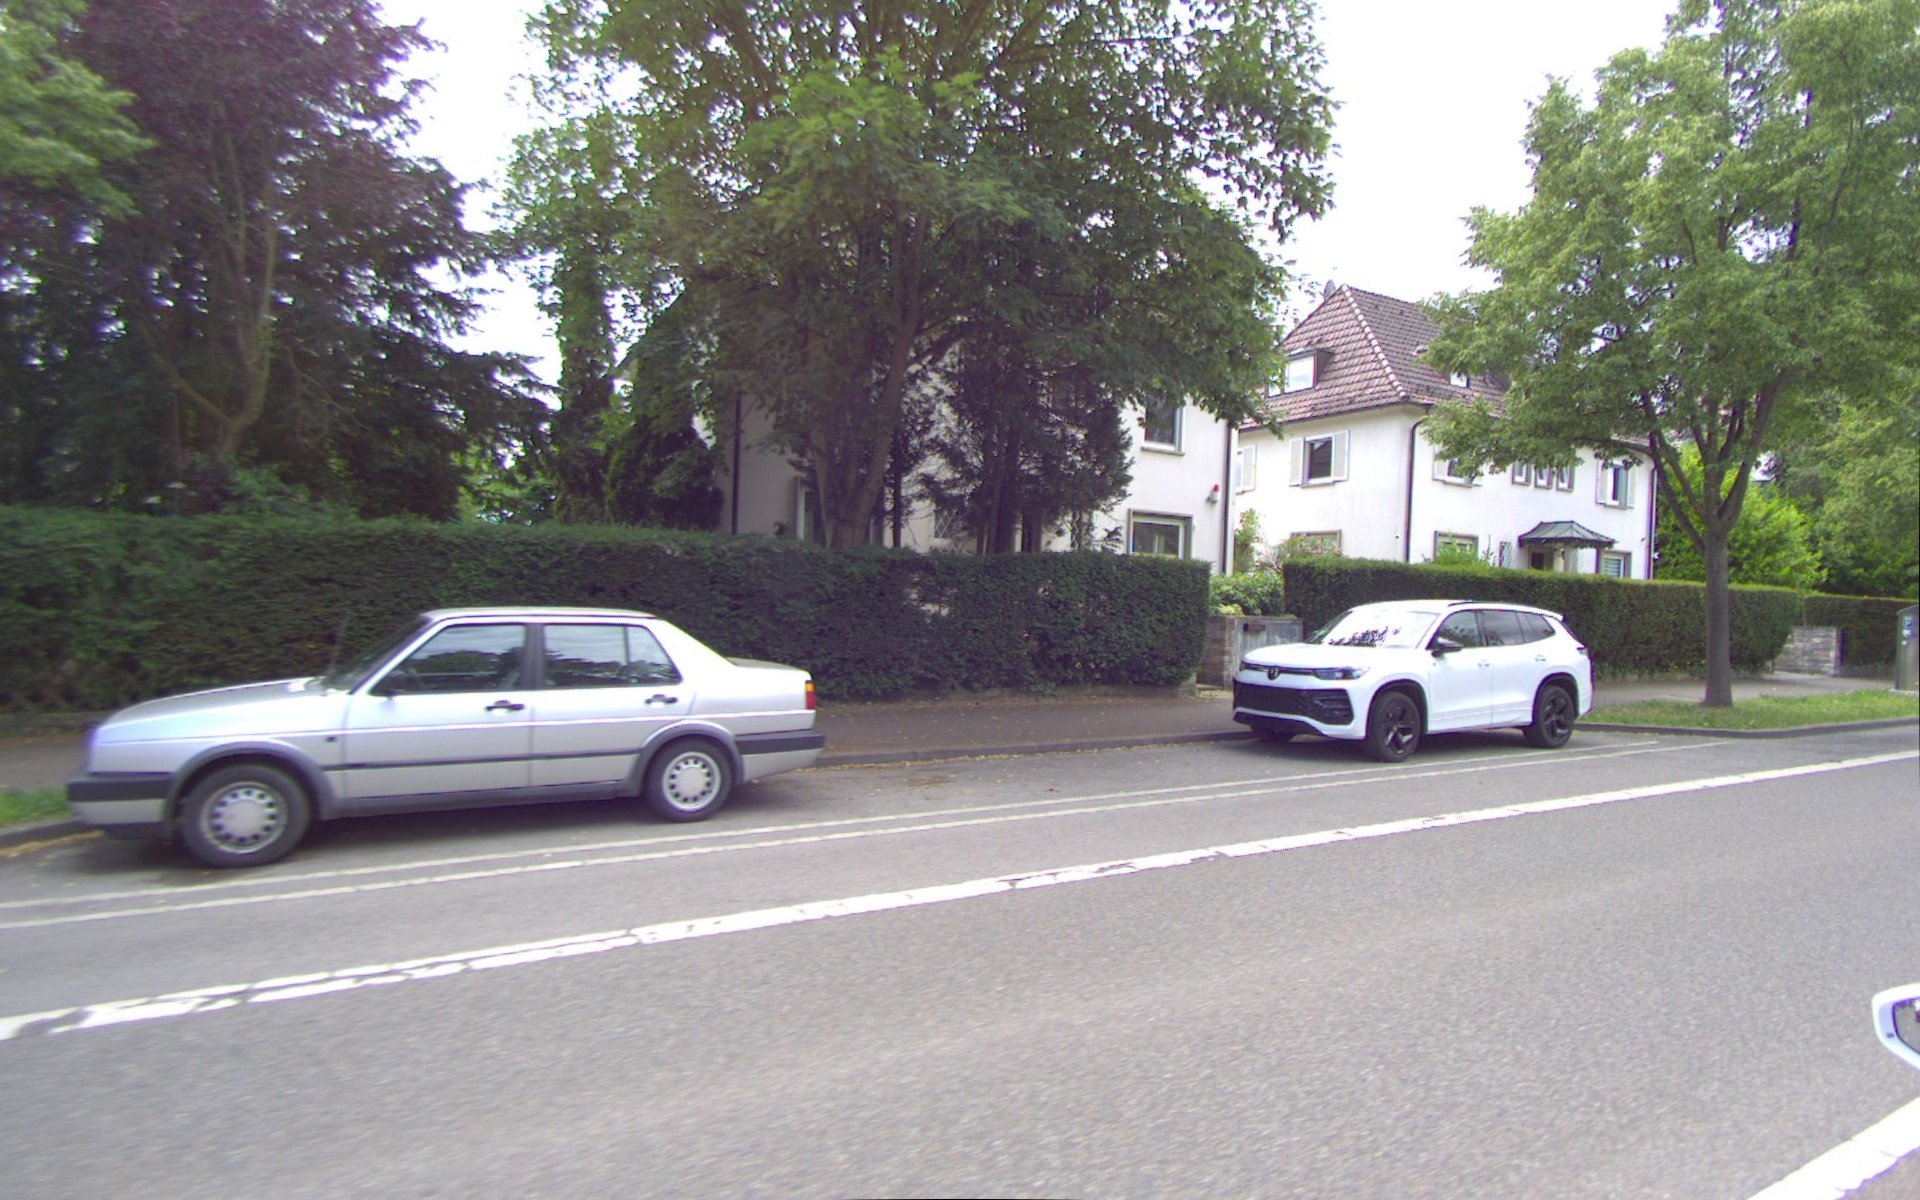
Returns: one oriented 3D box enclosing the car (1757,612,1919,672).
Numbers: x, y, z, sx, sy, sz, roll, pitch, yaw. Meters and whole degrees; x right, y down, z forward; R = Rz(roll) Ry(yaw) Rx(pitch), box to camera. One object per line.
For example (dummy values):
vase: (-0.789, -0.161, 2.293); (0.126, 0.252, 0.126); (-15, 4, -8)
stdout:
car: (26.606, 1.210, 29.887); (1.744, 1.606, 4.178); (1, 0, -30)

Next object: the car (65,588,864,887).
car: (-2.983, 0.724, 6.845); (4.402, 1.490, 1.547); (1, 0, -32)

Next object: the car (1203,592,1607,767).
car: (5.205, 0.805, 11.615); (4.640, 1.674, 1.809); (1, 0, -28)
